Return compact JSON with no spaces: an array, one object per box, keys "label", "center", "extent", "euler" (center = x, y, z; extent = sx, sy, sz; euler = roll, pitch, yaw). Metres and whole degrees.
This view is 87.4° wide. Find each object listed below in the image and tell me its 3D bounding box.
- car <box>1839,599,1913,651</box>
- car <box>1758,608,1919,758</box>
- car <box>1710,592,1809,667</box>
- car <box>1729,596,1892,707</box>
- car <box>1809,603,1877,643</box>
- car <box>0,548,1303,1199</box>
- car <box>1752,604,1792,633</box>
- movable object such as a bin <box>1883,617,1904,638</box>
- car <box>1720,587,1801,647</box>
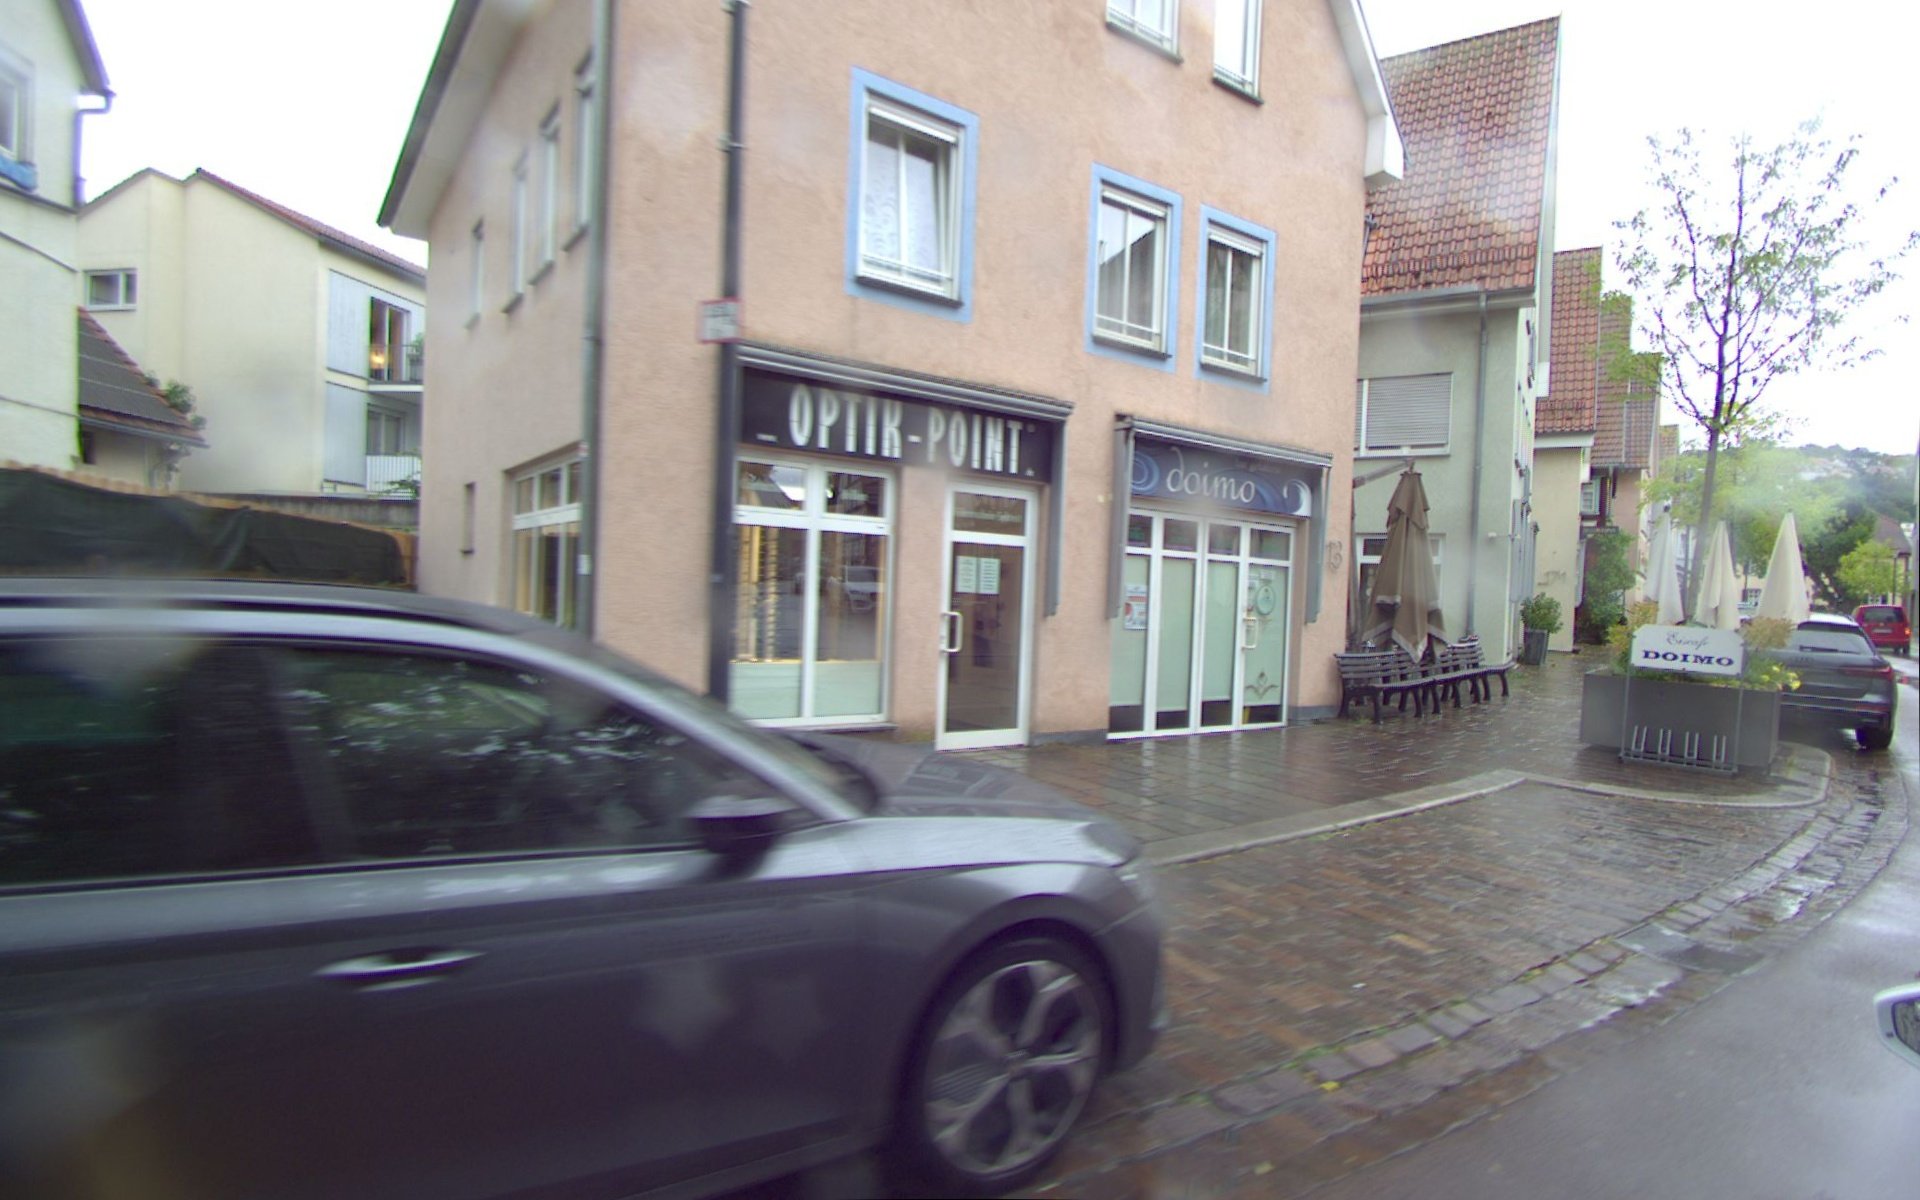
[{"label":"car","center":[36.560,0.948,40.172],"extent":[1.871,1.836,3.981],"euler":[5,3,39]},{"label":"car","center":[10.932,0.878,12.217],"extent":[1.839,1.461,4.599],"euler":[3,2,38]},{"label":"car","center":[20.891,0.791,26.251],"extent":[1.802,1.688,4.622],"euler":[4,0,39]},{"label":"car","center":[14.566,0.795,17.263],"extent":[1.840,1.545,4.306],"euler":[5,3,40]},{"label":"car","center":[43.563,1.154,49.652],"extent":[1.967,1.823,3.988],"euler":[4,0,35]},{"label":"car","center":[-1.356,0.722,2.557],"extent":[4.353,1.561,1.864],"euler":[4,0,-33]},{"label":"car","center":[46.393,1.032,57.386],"extent":[1.671,1.463,3.866],"euler":[4,2,39]},{"label":"movable object such as a bin","center":[50.667,1.504,54.504],"extent":[0.759,1.094,0.596],"euler":[4,0,40]},{"label":"car","center":[25.380,0.584,31.833],"extent":[1.802,1.688,4.622],"euler":[4,0,39]}]
